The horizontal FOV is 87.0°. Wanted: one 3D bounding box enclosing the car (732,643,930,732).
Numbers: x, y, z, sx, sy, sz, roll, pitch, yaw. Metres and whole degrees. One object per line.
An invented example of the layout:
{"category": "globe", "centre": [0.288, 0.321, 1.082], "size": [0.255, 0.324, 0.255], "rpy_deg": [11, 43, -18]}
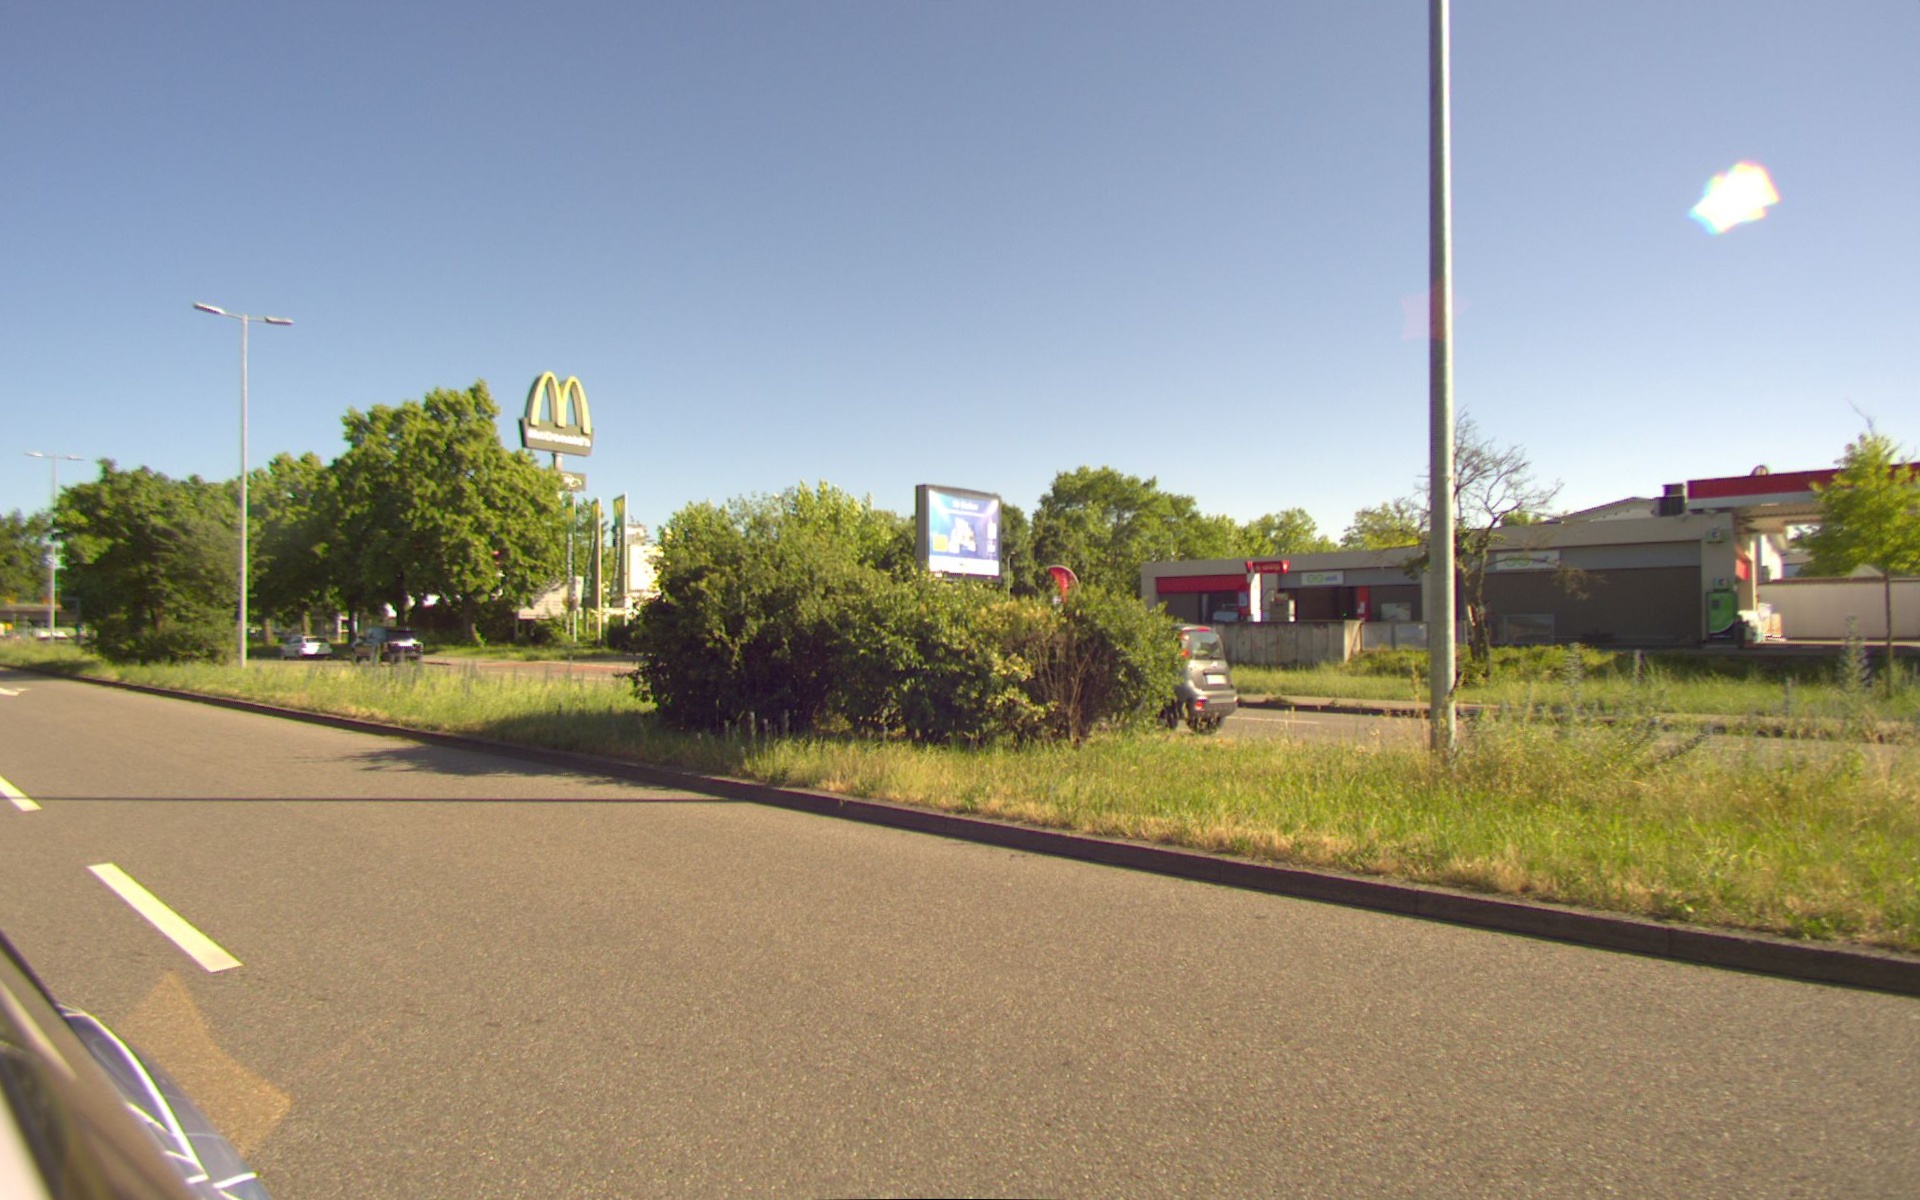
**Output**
{"category": "car", "centre": [-2.429, 1.523, 18.584], "size": [3.705, 1.364, 1.551], "rpy_deg": [-1, 0, 41]}

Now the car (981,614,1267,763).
{"category": "car", "centre": [2.250, 1.132, 14.410], "size": [3.705, 1.827, 1.628], "rpy_deg": [-1, 0, 41]}

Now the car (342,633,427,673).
{"category": "car", "centre": [-26.679, 2.395, 46.863], "size": [4.769, 1.640, 1.973], "rpy_deg": [-1, 0, 41]}

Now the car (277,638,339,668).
{"category": "car", "centre": [-37.939, 3.074, 58.854], "size": [4.141, 1.562, 1.973], "rpy_deg": [-1, 0, 41]}
